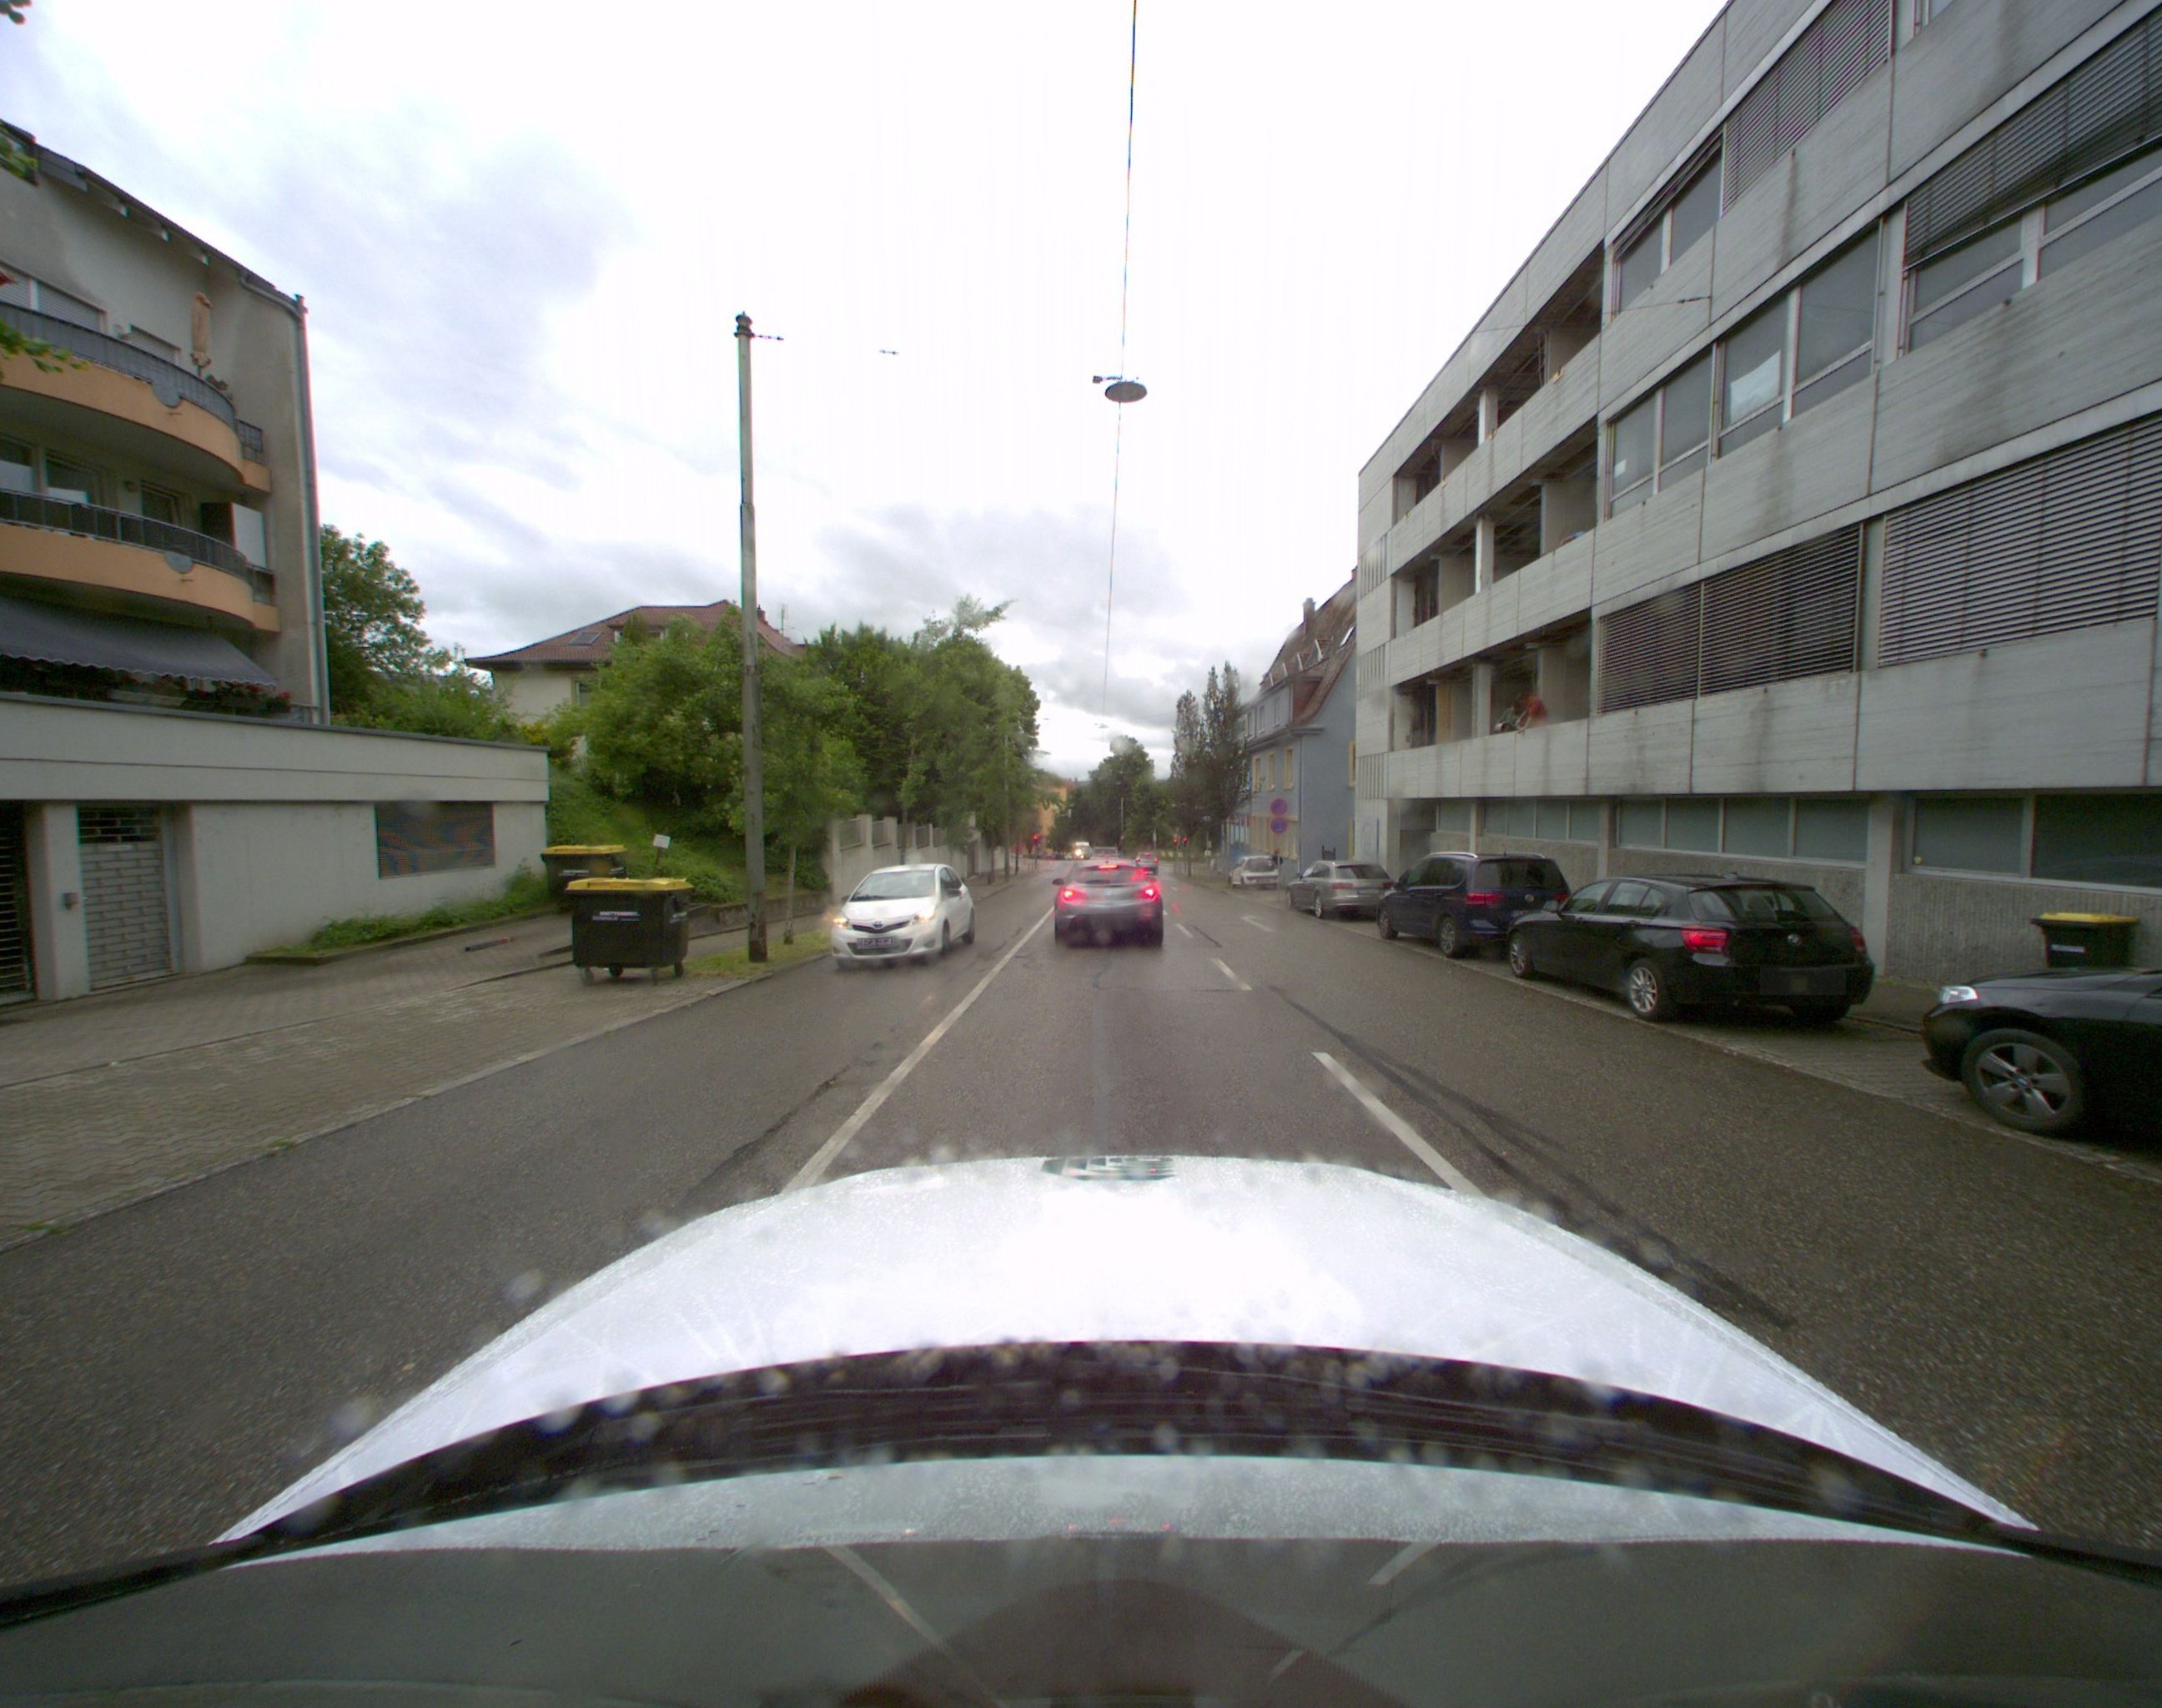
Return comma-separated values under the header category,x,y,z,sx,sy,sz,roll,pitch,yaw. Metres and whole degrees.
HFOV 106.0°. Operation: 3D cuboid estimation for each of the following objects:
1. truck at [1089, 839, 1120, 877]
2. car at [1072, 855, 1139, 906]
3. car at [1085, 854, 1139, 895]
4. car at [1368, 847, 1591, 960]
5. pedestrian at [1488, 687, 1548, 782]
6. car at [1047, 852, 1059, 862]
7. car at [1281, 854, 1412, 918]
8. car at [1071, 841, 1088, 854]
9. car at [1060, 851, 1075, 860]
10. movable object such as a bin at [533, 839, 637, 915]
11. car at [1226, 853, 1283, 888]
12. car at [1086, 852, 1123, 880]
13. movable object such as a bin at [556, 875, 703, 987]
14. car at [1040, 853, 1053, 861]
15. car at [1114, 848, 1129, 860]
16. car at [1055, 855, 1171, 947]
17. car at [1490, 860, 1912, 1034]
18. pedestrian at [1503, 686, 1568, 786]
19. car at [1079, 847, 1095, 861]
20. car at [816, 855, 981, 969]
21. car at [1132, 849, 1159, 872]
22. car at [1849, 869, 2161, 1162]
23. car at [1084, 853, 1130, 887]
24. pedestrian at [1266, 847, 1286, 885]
category,x,y,z,sx,sy,sz,roll,pitch,yaw
truck,1.557,0.230,54.850,1.955,2.429,4.936,1,0,0
car,0.736,0.793,26.083,1.955,1.448,4.305,1,0,0
car,1.153,0.757,31.799,1.955,1.448,4.305,1,0,0
car,6.487,0.712,13.827,1.723,1.599,4.160,-1,0,0
pedestrian,9.900,-2.685,18.478,0.904,2.014,0.861,0,-1,1
car,-5.026,0.545,144.928,1.722,1.638,3.867,1,-1,-9
car,6.798,0.751,21.434,1.956,1.448,4.525,-1,0,0
car,-0.191,-0.876,108.081,1.721,1.638,3.870,-1,0,-7
car,-2.512,0.257,147.492,1.726,1.543,3.858,-1,0,-16
movable object such as a bin,-9.847,0.430,16.248,1.296,1.363,1.225,0,6,-6
car,7.686,0.684,36.306,1.717,1.448,3.880,-1,0,0
car,1.252,0.630,44.847,1.955,1.448,4.305,1,0,0
movable object such as a bin,-5.783,0.953,10.536,1.296,1.306,1.153,0,1,-7
car,-7.065,0.602,166.112,1.726,1.638,3.858,-1,0,-16
car,5.795,-0.032,116.613,1.718,1.638,3.877,-1,0,-2
car,0.505,0.744,14.879,1.831,1.434,3.879,-1,0,0
car,6.430,0.827,9.191,1.740,1.448,4.256,-1,0,4
pedestrian,9.718,-2.497,17.441,0.904,2.014,0.861,0,-1,1
car,0.755,0.018,100.414,1.864,1.638,3.880,-1,0,0
car,-2.858,0.838,13.613,1.703,1.531,3.843,-3,0,1
car,4.933,0.474,62.813,1.717,1.714,3.879,-1,0,0
car,6.434,0.830,3.559,1.987,1.435,4.442,0,0,0
car,1.139,0.679,37.184,1.955,1.448,4.305,1,0,0
pedestrian,9.045,0.536,37.862,0.780,1.729,0.651,1,0,1
